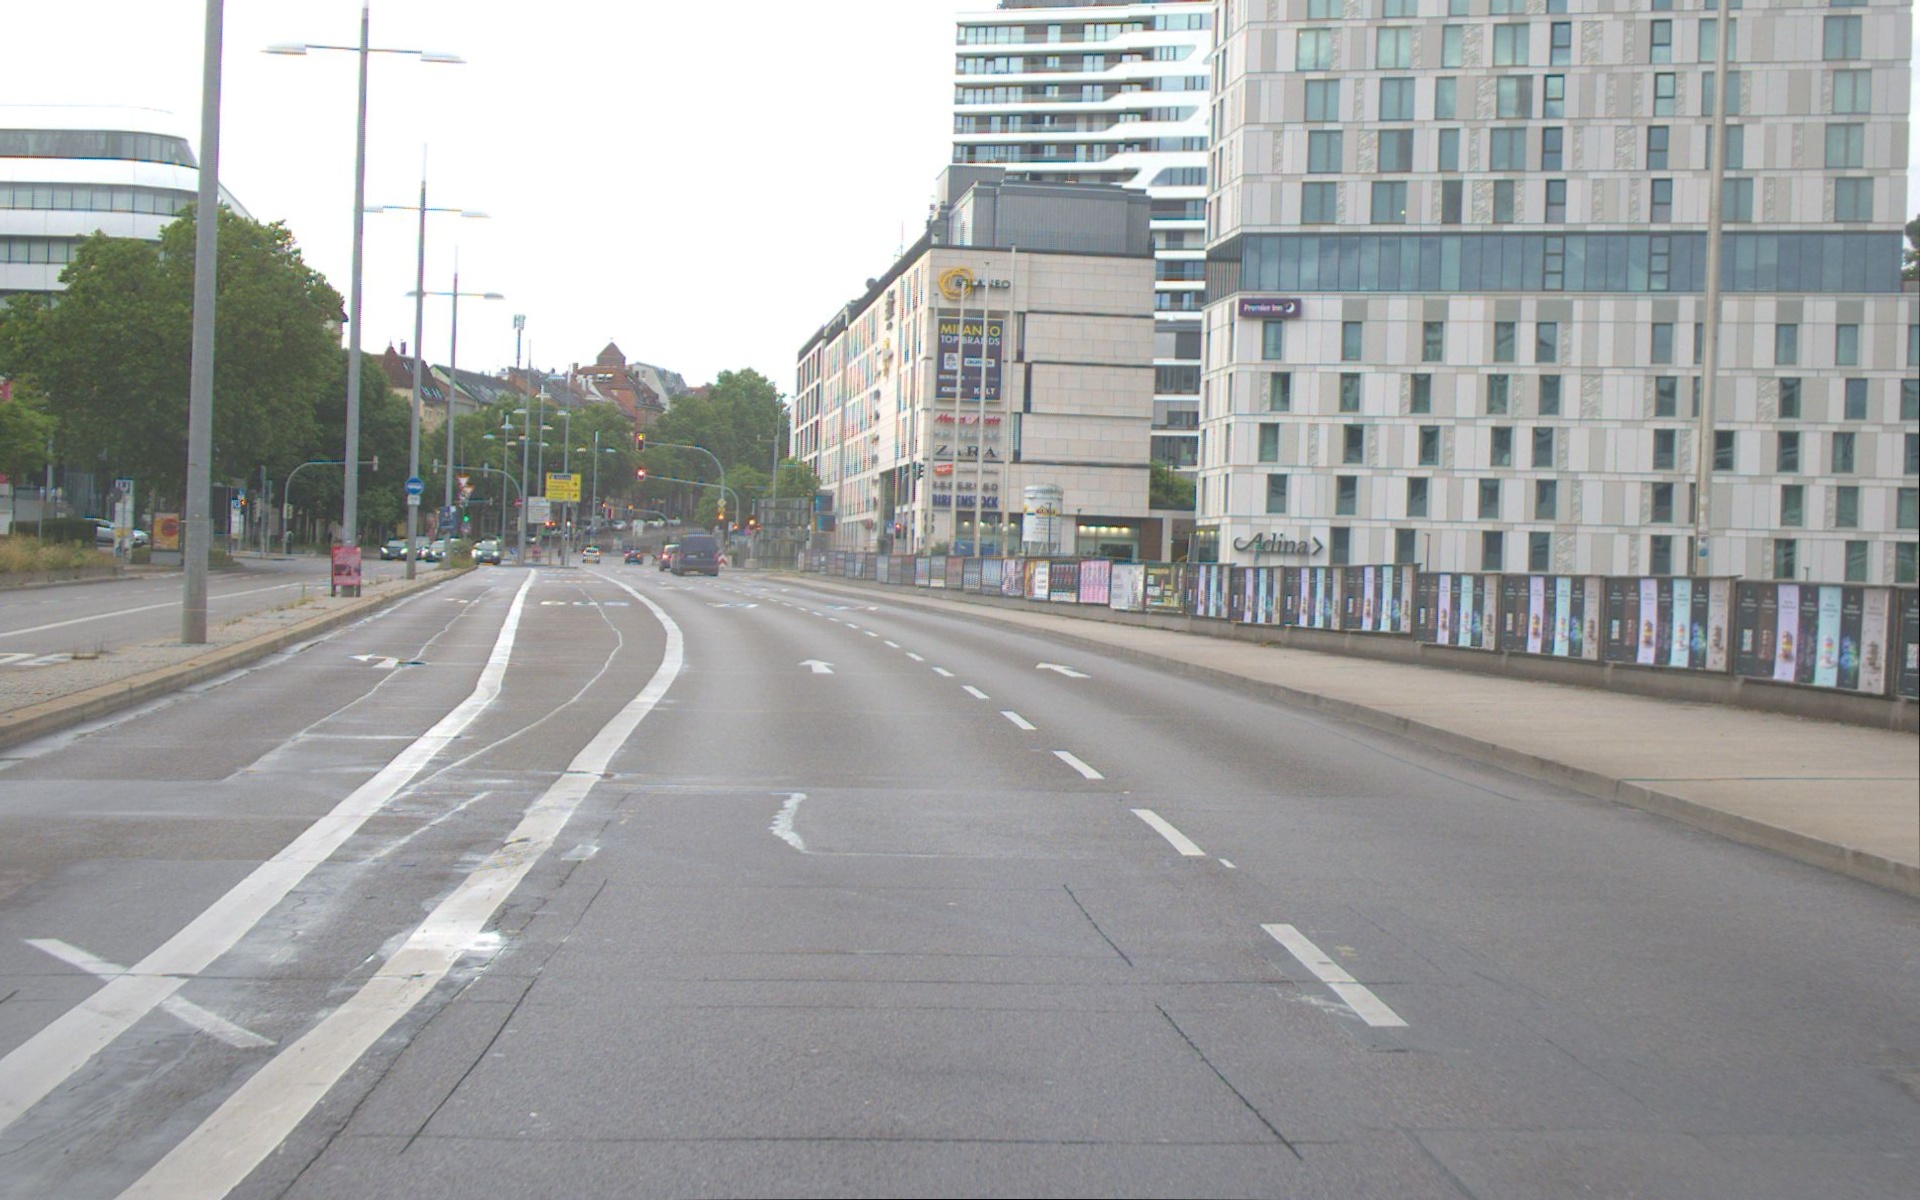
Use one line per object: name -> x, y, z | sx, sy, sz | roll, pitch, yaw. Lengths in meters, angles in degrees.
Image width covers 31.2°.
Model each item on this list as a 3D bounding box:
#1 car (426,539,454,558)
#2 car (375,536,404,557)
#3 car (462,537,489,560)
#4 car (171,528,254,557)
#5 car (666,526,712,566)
car -> -35.686, -3.548, 236.186 | 1.743, 1.253, 3.540 | 2, 1, -7
car -> -39.013, -3.633, 235.207 | 1.743, 1.324, 4.226 | 1, -1, -7
car -> -33.161, -3.540, 235.528 | 1.743, 1.439, 3.395 | 1, -1, -7
car -> -45.247, -3.488, 208.206 | 4.503, 1.626, 1.894 | 1, -1, 9
car -> -13.126, -2.631, 166.244 | 2.032, 1.875, 5.043 | -1, 1, -6
